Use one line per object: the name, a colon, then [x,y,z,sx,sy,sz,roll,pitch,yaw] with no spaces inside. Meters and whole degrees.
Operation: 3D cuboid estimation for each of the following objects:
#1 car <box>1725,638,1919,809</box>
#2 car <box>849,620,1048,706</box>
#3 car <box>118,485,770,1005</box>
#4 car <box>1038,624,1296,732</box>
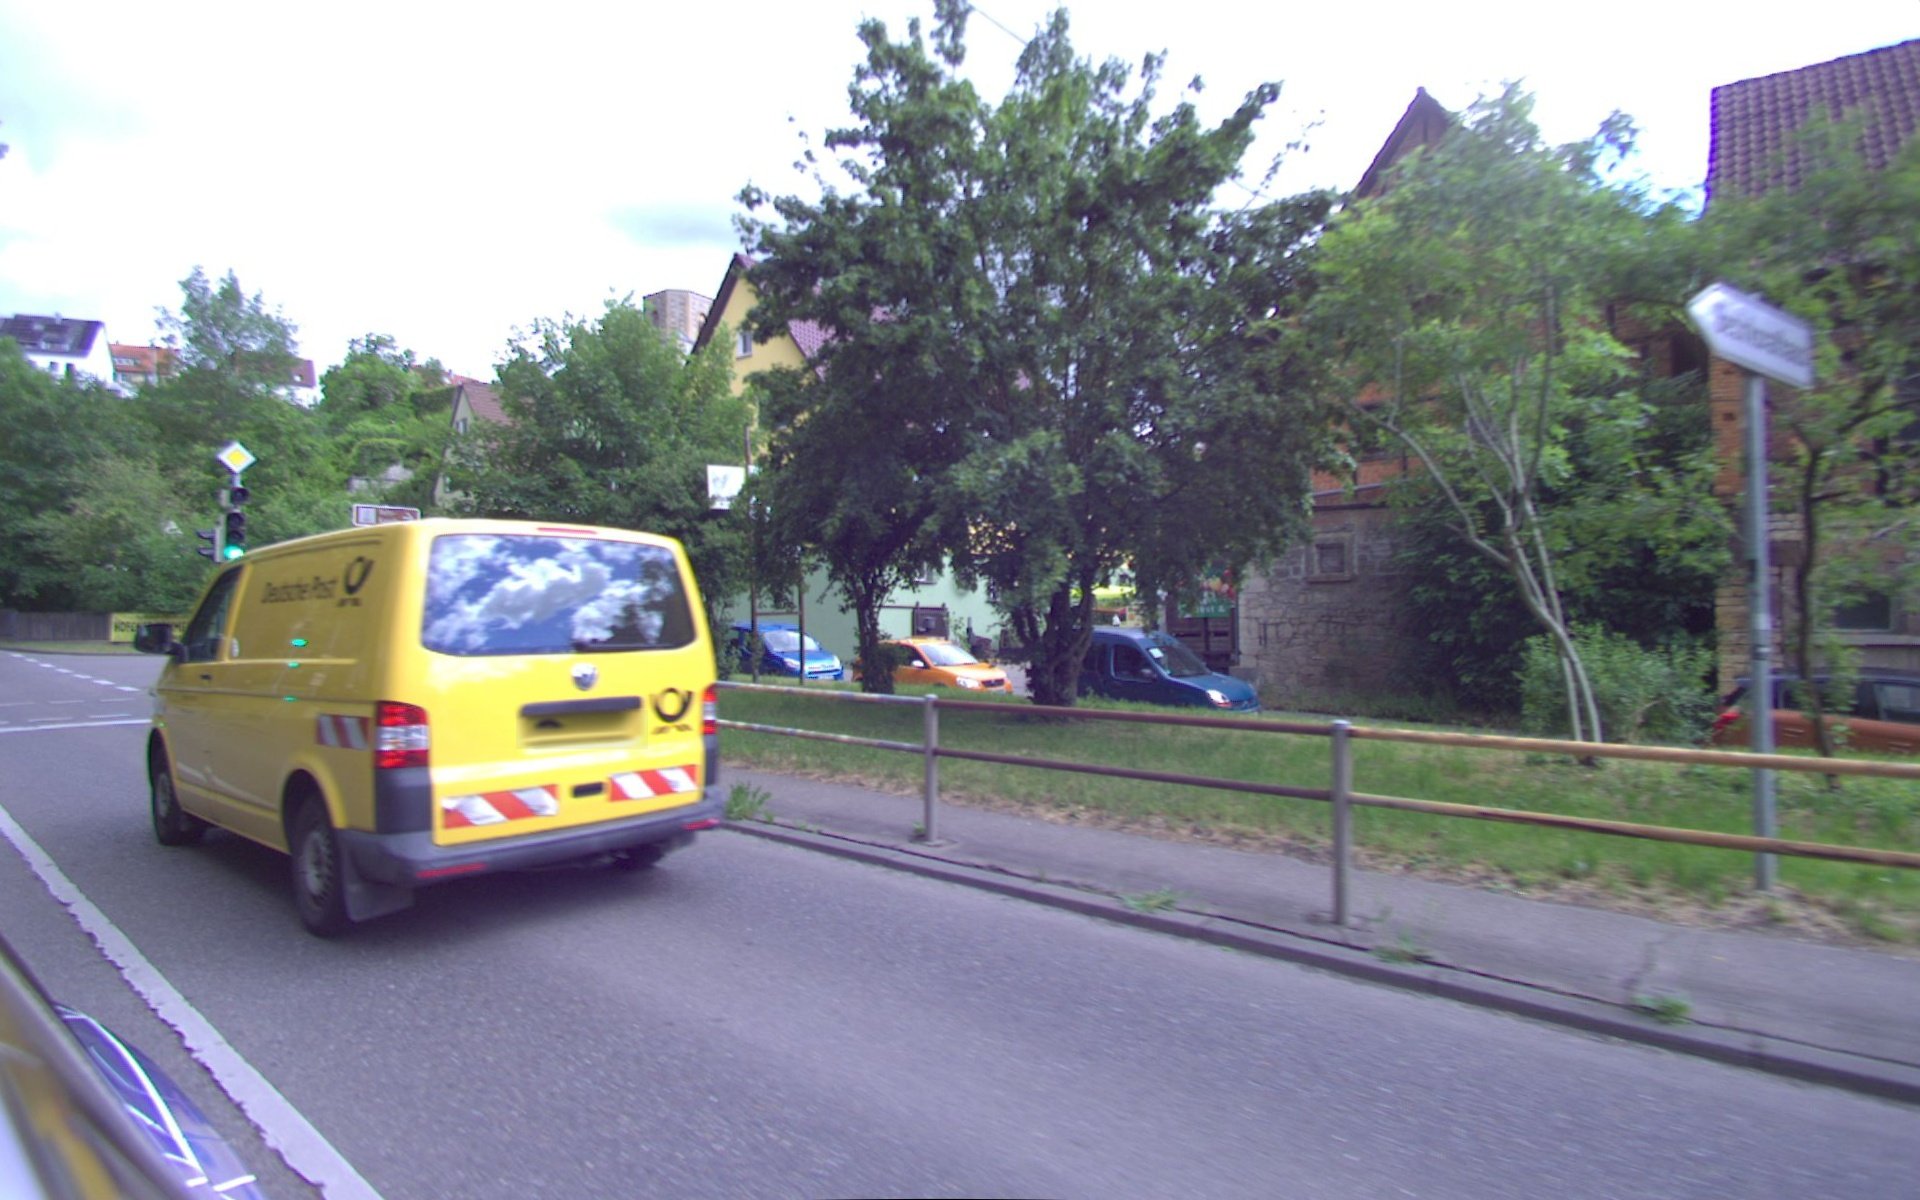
car: [10.249,1.227,10.093,4.001,1.630,1.791,-1,-3,44]
car: [-0.309,1.271,21.367,4.001,1.630,1.926,-1,-3,44]
car: [-3.364,0.575,6.058,4.766,1.945,1.826,-1,-1,41]
car: [3.464,1.251,17.350,4.001,1.630,1.791,-1,-3,44]
